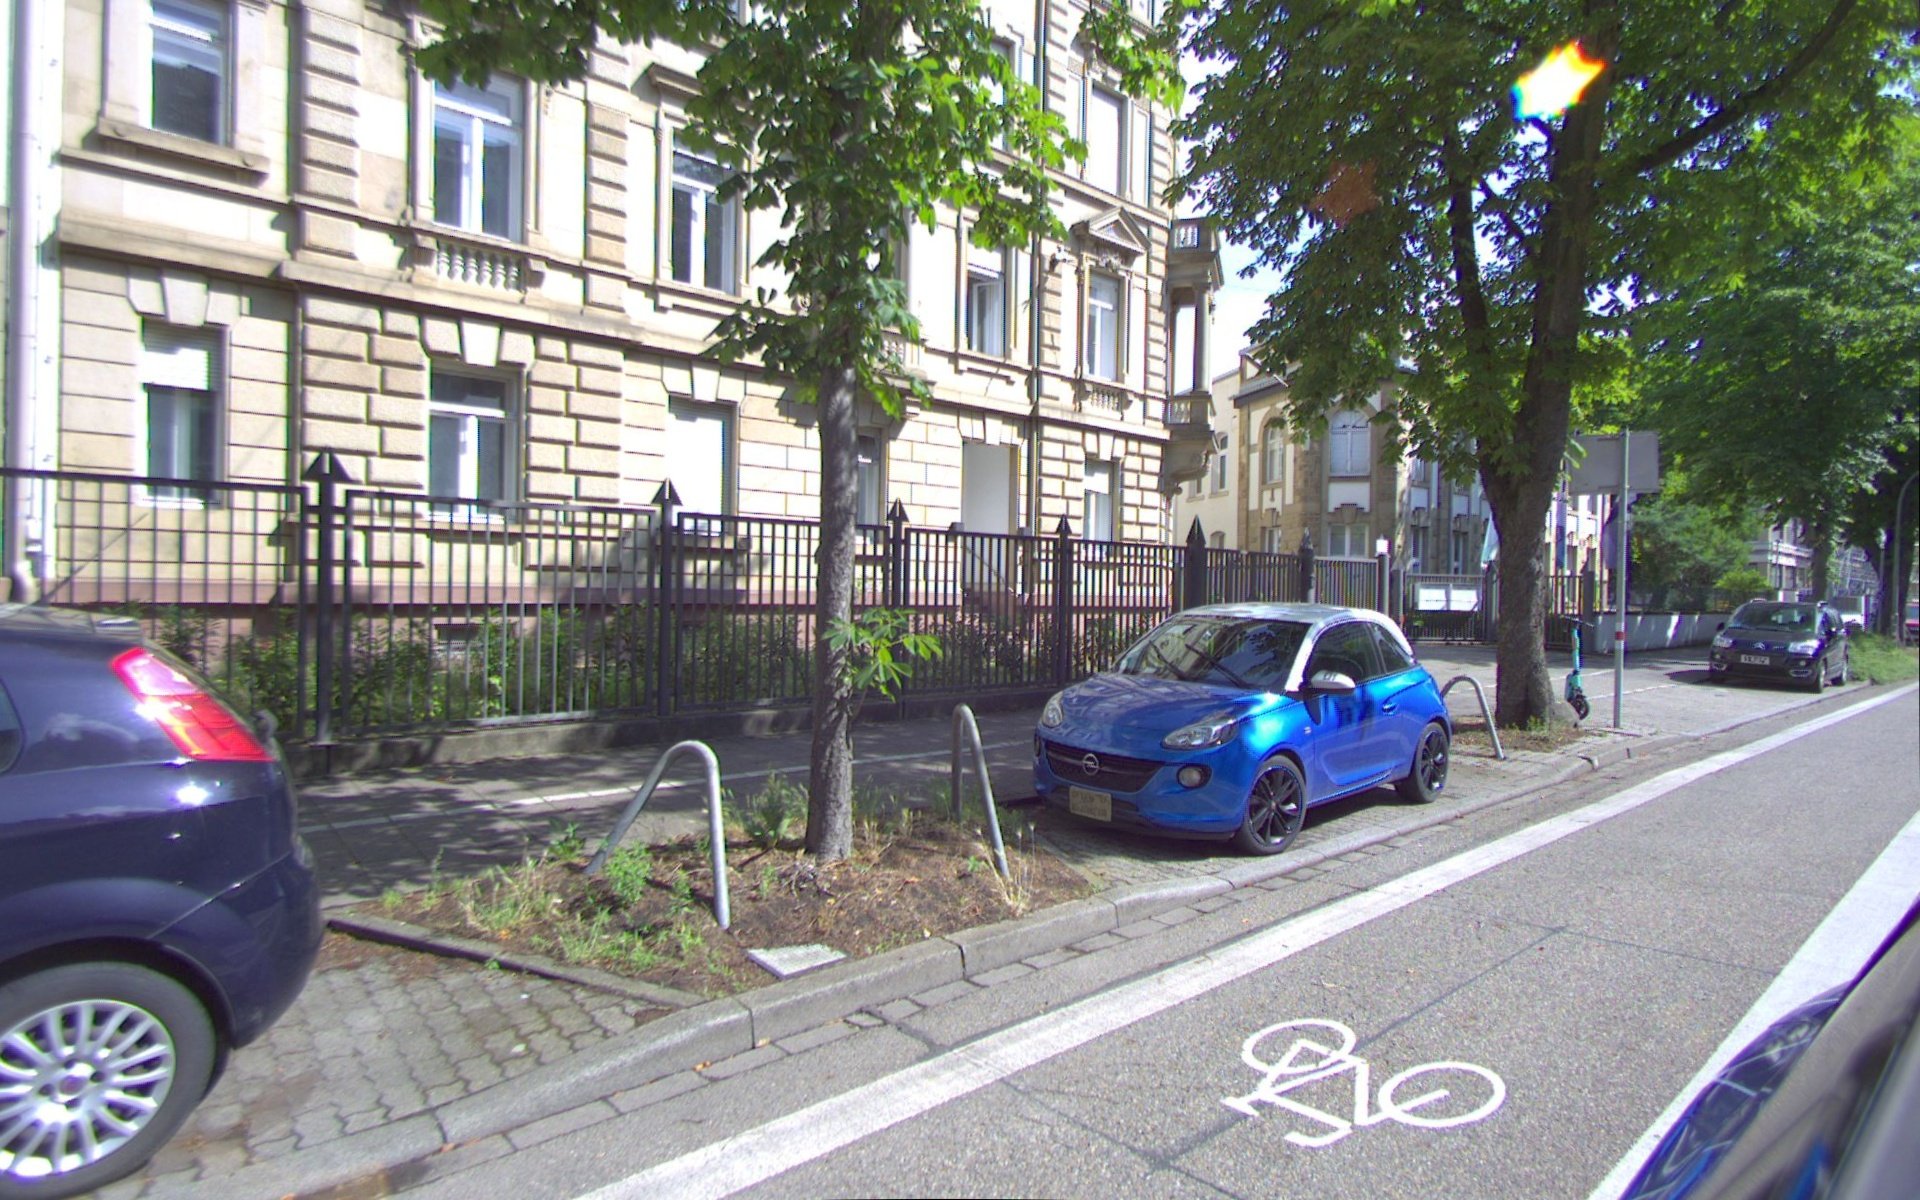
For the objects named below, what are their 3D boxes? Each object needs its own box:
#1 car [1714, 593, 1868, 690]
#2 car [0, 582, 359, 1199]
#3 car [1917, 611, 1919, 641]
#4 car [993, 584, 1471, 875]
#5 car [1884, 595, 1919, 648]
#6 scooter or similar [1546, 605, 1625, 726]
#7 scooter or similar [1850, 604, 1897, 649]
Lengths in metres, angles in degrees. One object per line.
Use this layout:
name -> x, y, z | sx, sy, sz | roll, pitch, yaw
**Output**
car -> 16.143, 0.709, 19.590 | 4.131, 1.610, 1.699 | 0, 3, -42
car -> -3.621, 0.730, 2.222 | 3.694, 1.514, 1.642 | 0, 2, -43
car -> 38.417, 0.879, 39.305 | 3.538, 1.445, 1.602 | -1, 4, -45
car -> 2.090, 0.691, 7.264 | 3.565, 1.514, 1.642 | 0, 2, -43
car -> 32.920, 0.722, 34.400 | 4.210, 1.697, 1.878 | 0, 3, -43
scooter or similar -> 7.388, 0.736, 11.995 | 0.436, 1.315, 1.175 | 4, 1, 18
scooter or similar -> 26.569, 0.763, 29.429 | 1.233, 1.252, 0.343 | 2, 3, -17
